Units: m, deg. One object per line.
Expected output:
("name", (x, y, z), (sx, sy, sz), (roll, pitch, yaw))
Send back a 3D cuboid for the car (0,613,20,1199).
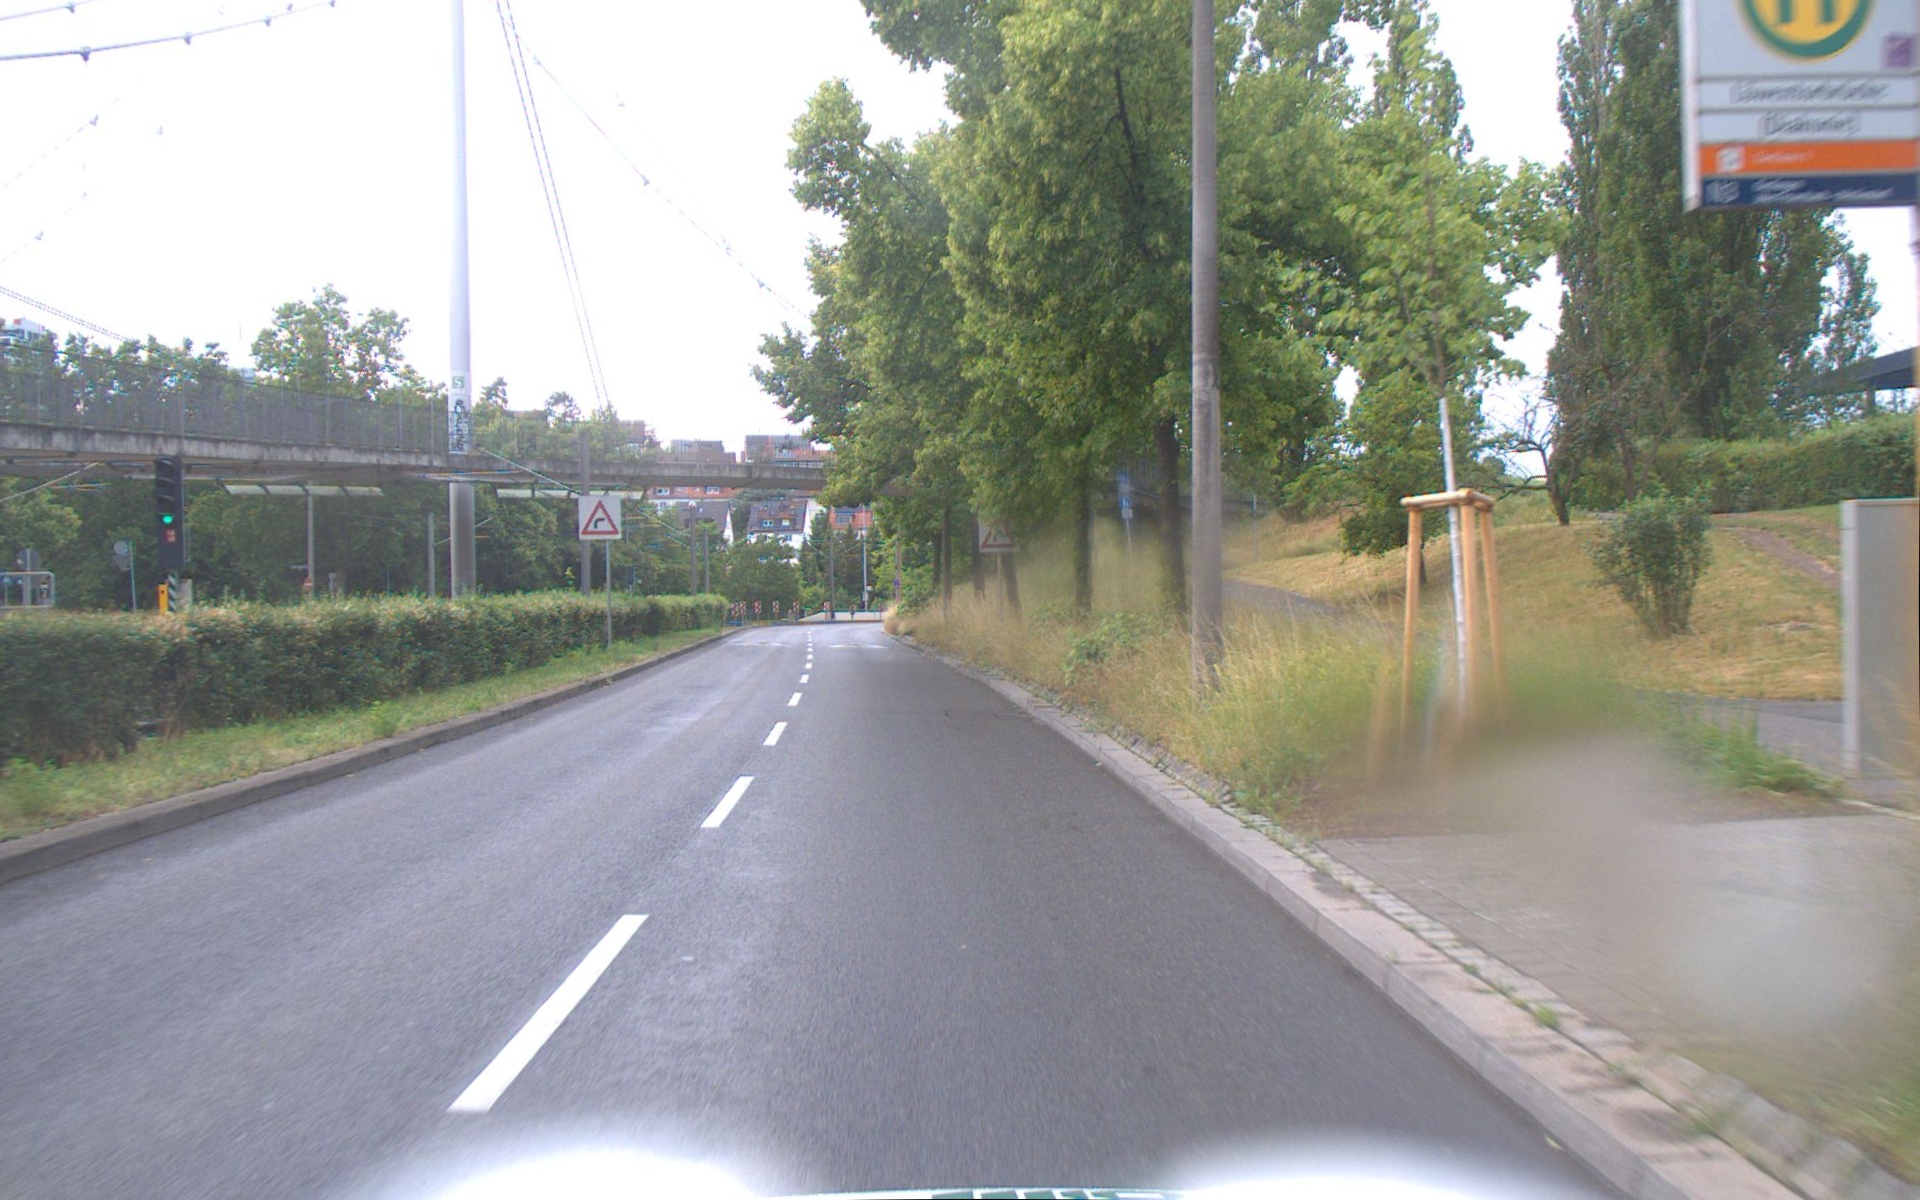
("car", (-3.067, 0.709, 1.672), (1.771, 1.402, 4.346), (1, 0, -1))
